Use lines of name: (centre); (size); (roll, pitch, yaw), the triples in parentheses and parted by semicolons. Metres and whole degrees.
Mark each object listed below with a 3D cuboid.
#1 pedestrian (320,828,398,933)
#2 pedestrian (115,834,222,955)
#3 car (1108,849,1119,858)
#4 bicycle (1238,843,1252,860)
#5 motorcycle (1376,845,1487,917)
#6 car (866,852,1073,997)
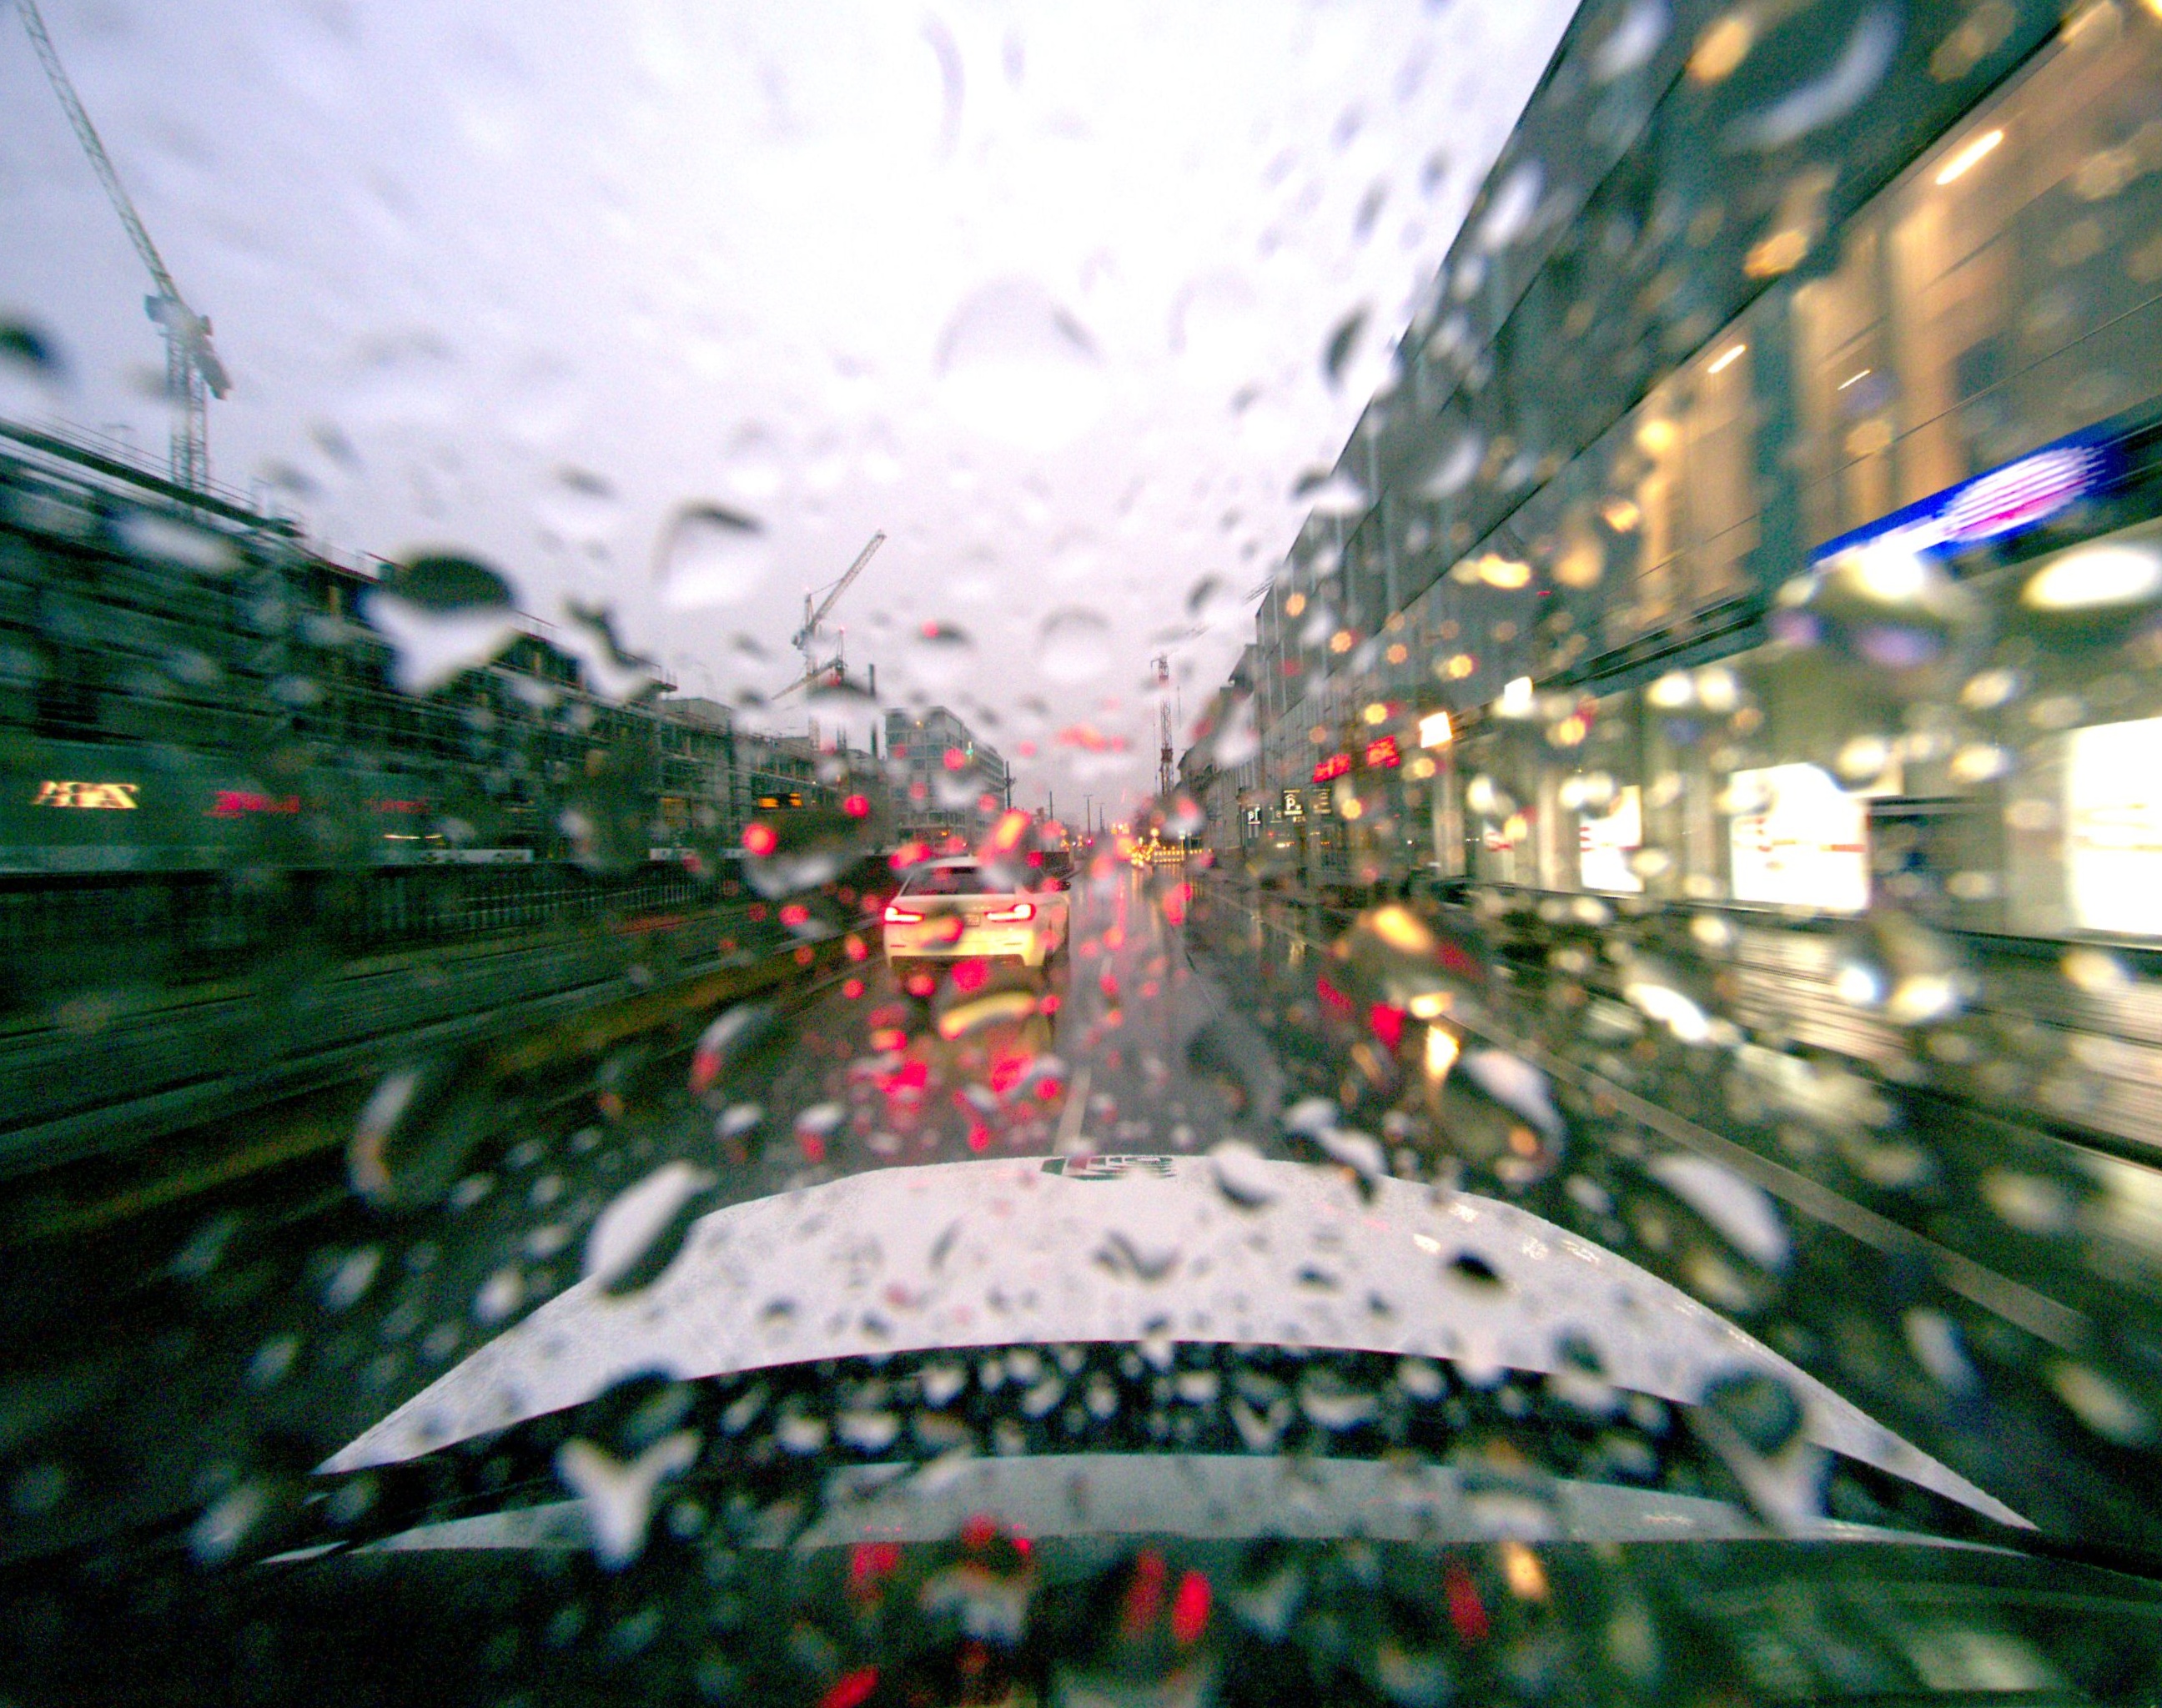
pedestrian: (-12.014, 0.427, 13.572); (0.580, 1.701, 0.743); (-1, 0, 14)
pedestrian: (-12.099, 0.516, 10.815); (0.580, 1.550, 0.743); (-1, 0, 14)
car: (6.107, -0.133, 152.357); (1.893, 1.641, 4.004); (-1, 0, 3)
bicycle: (12.628, -0.169, 62.859); (0.680, 1.222, 1.906); (-5, 0, 2)
motorcycle: (6.890, 0.531, 16.076); (1.885, 1.333, 0.599); (-3, -1, 43)
car: (-1.190, 0.730, 10.960); (1.844, 1.465, 4.950); (-1, 0, 3)
